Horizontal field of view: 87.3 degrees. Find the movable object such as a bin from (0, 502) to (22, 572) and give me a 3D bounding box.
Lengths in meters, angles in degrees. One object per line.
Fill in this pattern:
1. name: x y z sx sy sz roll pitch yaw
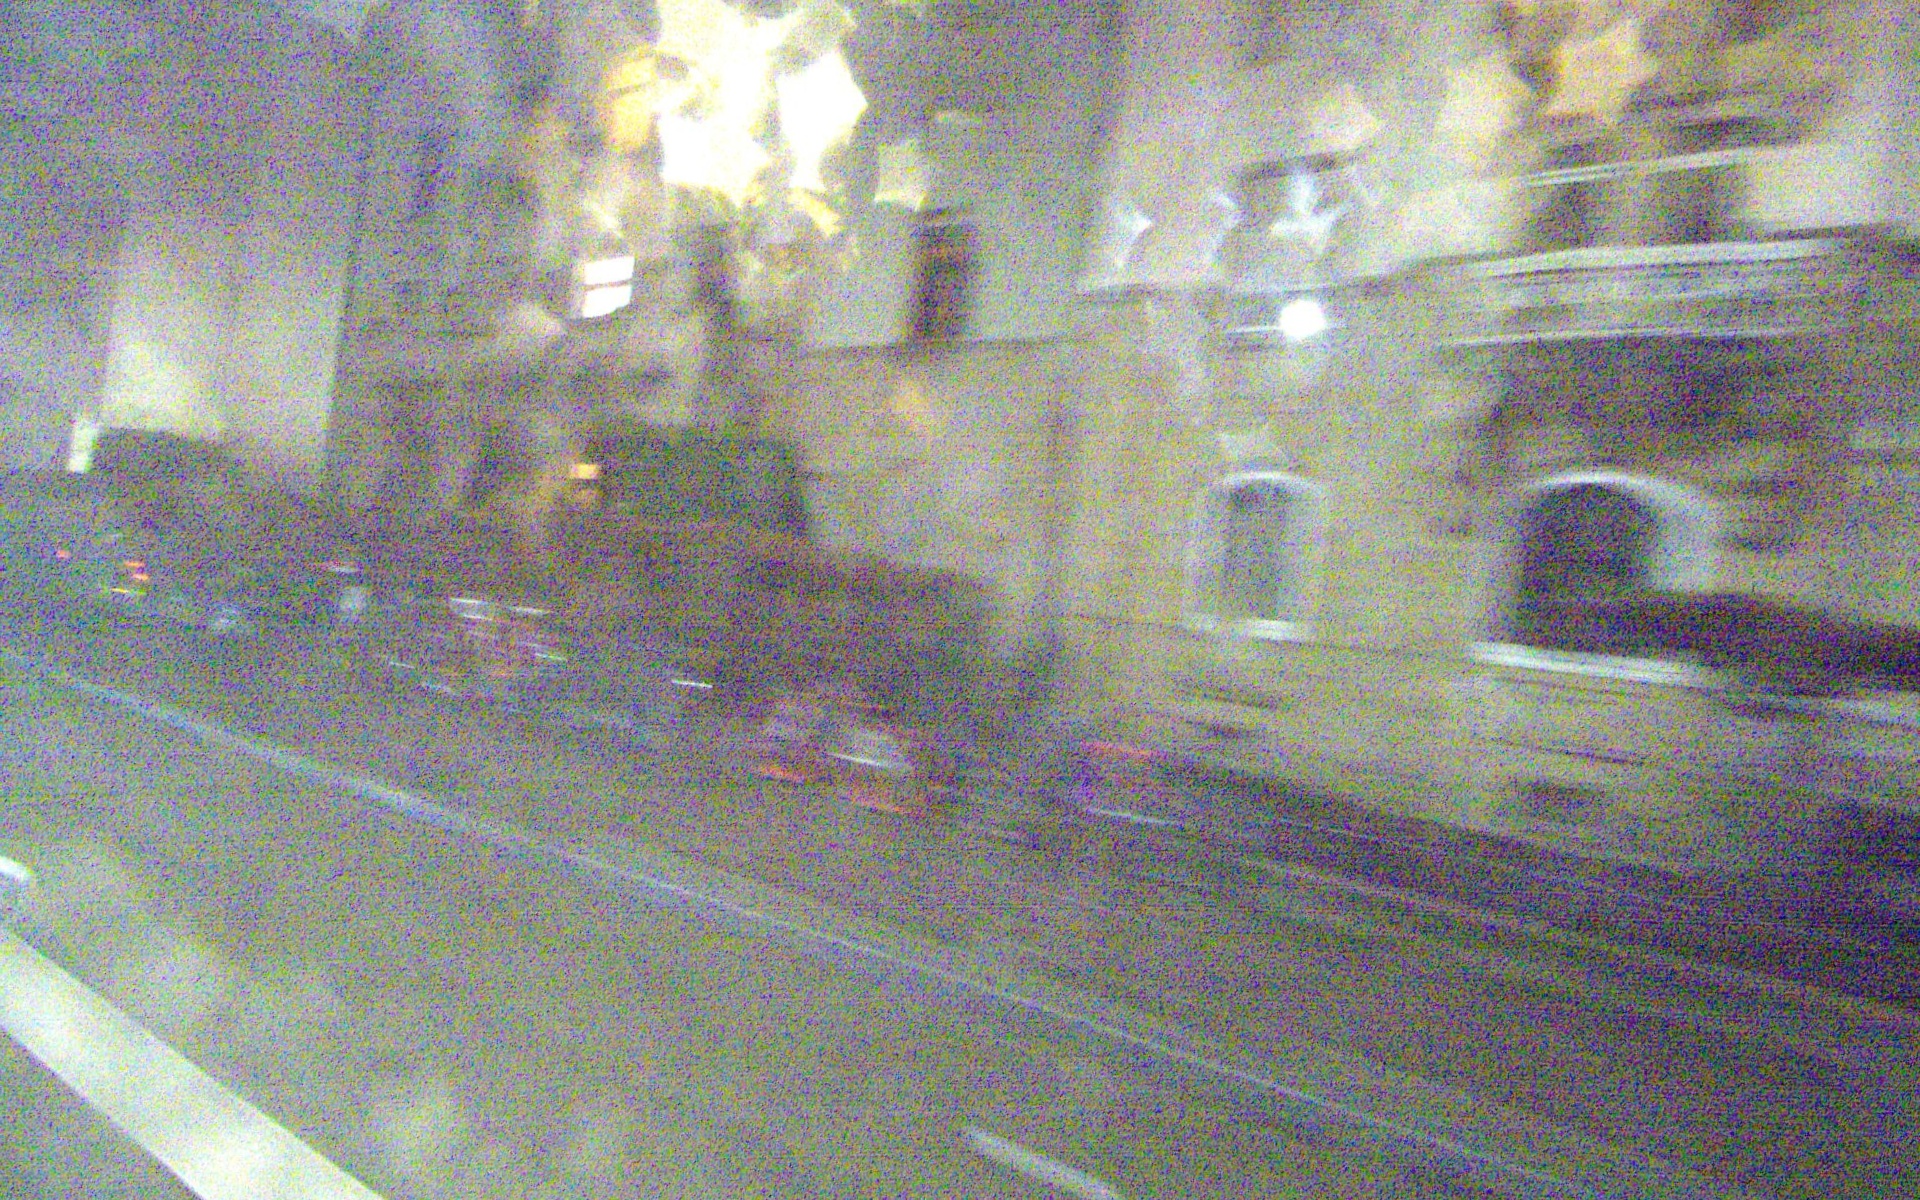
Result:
1. movable object such as a bin: -20.501 -1.401 20.651 1.007 1.423 1.354 7 -1 12
